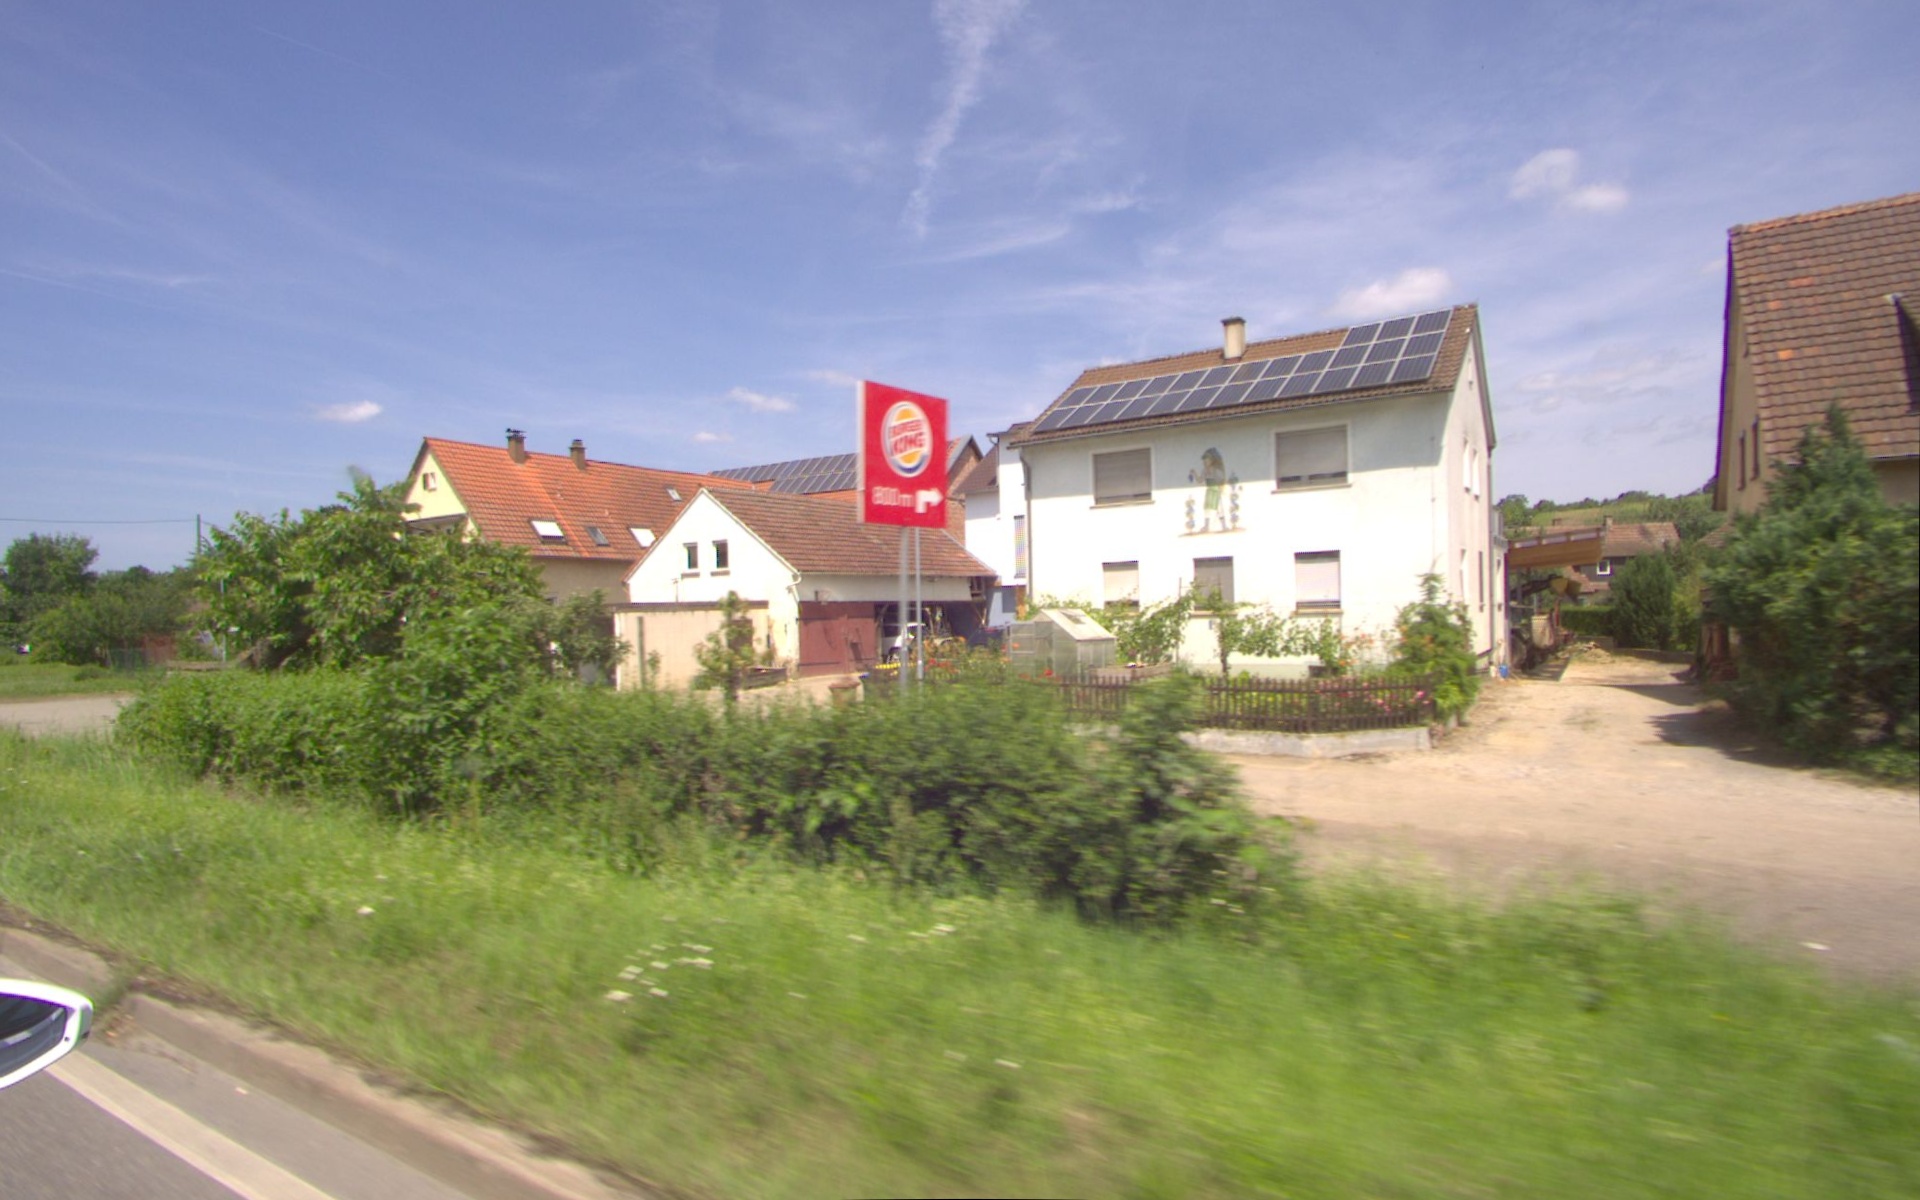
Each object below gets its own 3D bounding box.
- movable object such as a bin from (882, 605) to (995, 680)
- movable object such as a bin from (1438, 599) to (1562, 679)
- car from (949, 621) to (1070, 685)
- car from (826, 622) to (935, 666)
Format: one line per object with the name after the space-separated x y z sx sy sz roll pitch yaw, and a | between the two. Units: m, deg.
-0.683 1.358 34.170 2.052 2.375 3.696 0 1 36 | movable object such as a bin
20.457 1.434 37.957 3.942 2.798 1.831 2 0 33 | movable object such as a bin
1.560 1.562 30.495 1.820 1.715 3.936 -2 -1 36 | car
-3.077 1.689 38.403 3.946 1.638 1.750 -2 -2 34 | car
